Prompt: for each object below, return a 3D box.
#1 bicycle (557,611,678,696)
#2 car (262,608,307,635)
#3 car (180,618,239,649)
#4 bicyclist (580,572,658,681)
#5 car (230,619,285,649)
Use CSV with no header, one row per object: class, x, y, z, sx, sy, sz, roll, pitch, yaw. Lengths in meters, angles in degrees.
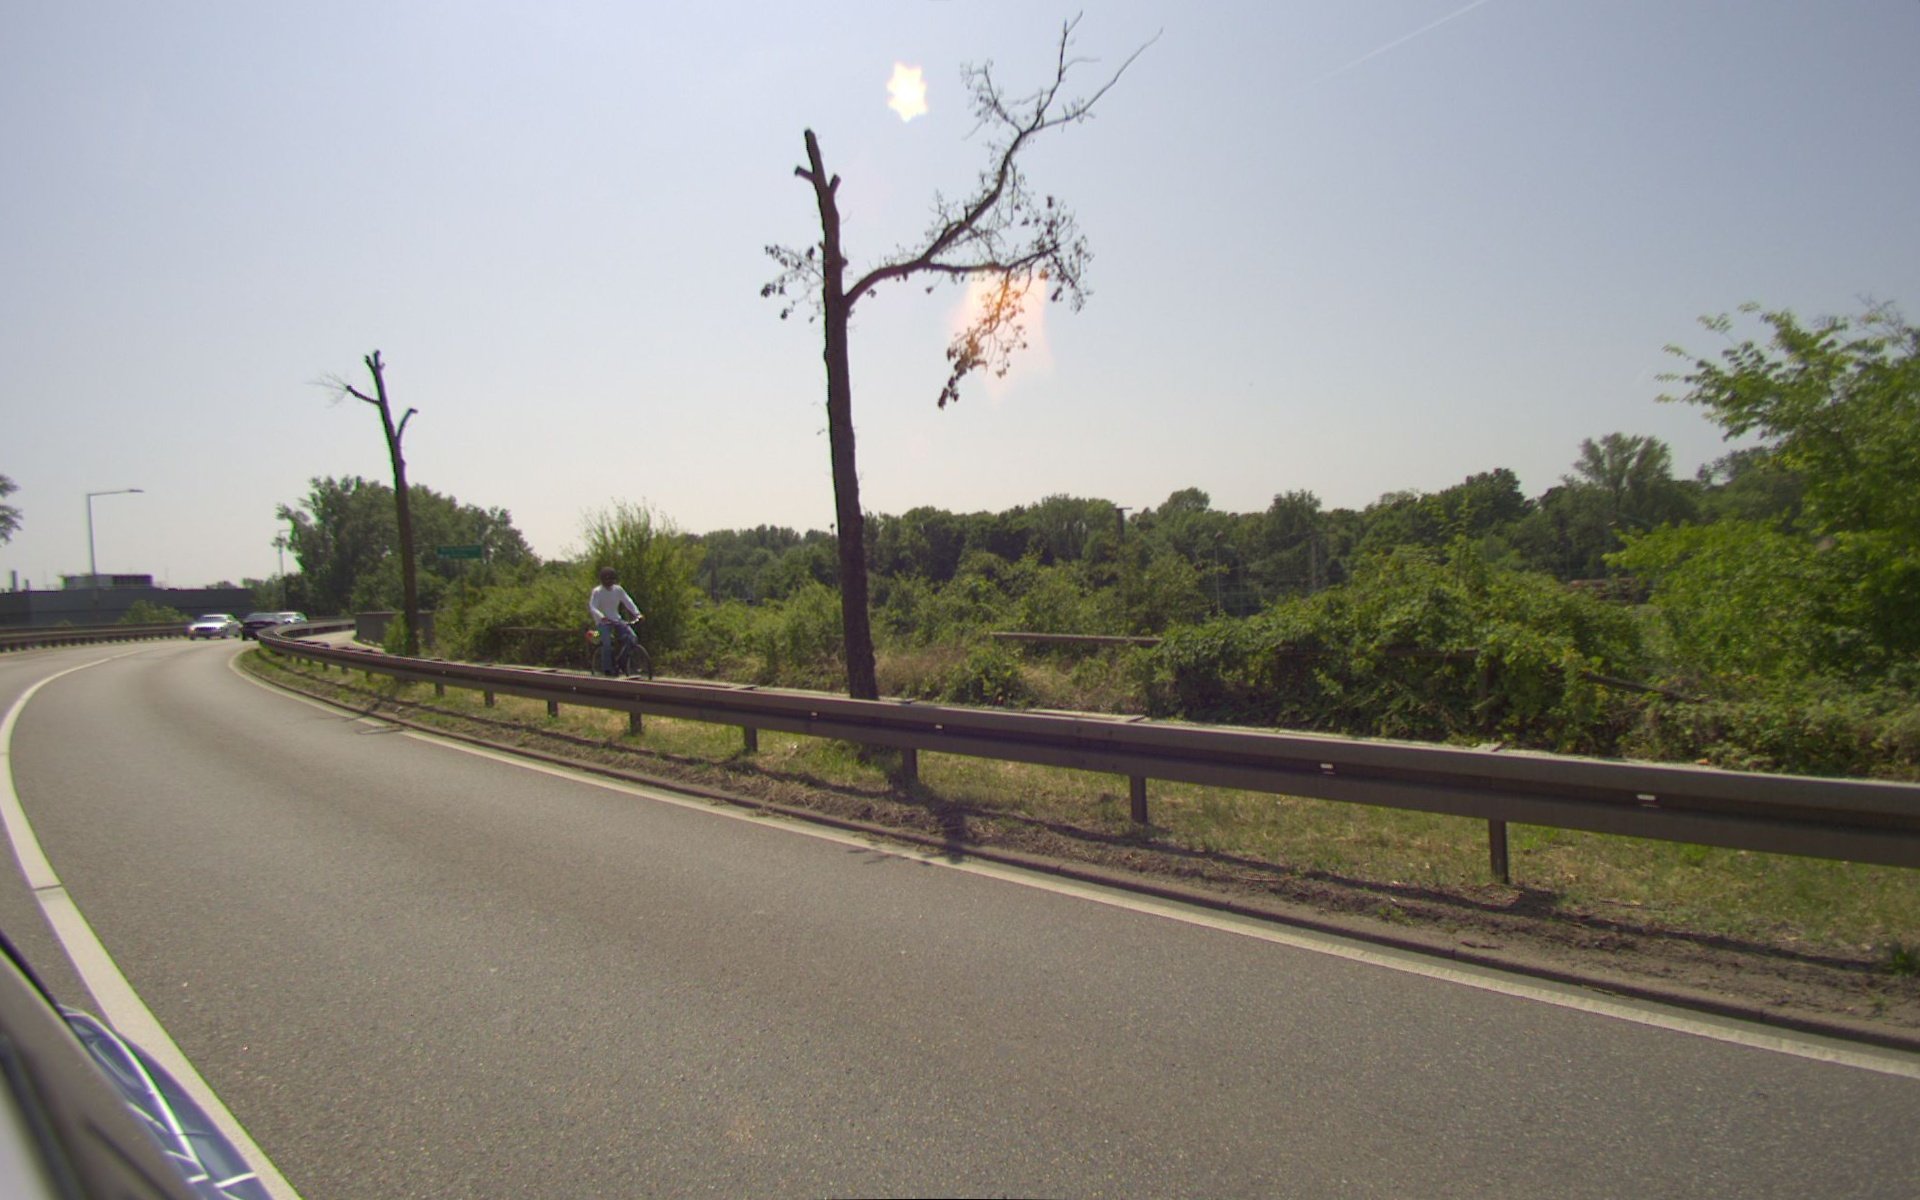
bicycle,-4.855,0.724,14.290,2.046,1.125,0.726,-1,-2,43
car,-48.997,1.510,73.490,1.769,1.796,4.307,-1,1,-20
car,-43.294,1.894,58.477,1.734,1.510,4.248,-1,2,-22
bicyclist,-4.804,0.365,14.253,0.824,1.477,0.721,-1,-2,43
car,-37.095,1.780,53.534,1.778,1.427,4.372,-1,0,-27
